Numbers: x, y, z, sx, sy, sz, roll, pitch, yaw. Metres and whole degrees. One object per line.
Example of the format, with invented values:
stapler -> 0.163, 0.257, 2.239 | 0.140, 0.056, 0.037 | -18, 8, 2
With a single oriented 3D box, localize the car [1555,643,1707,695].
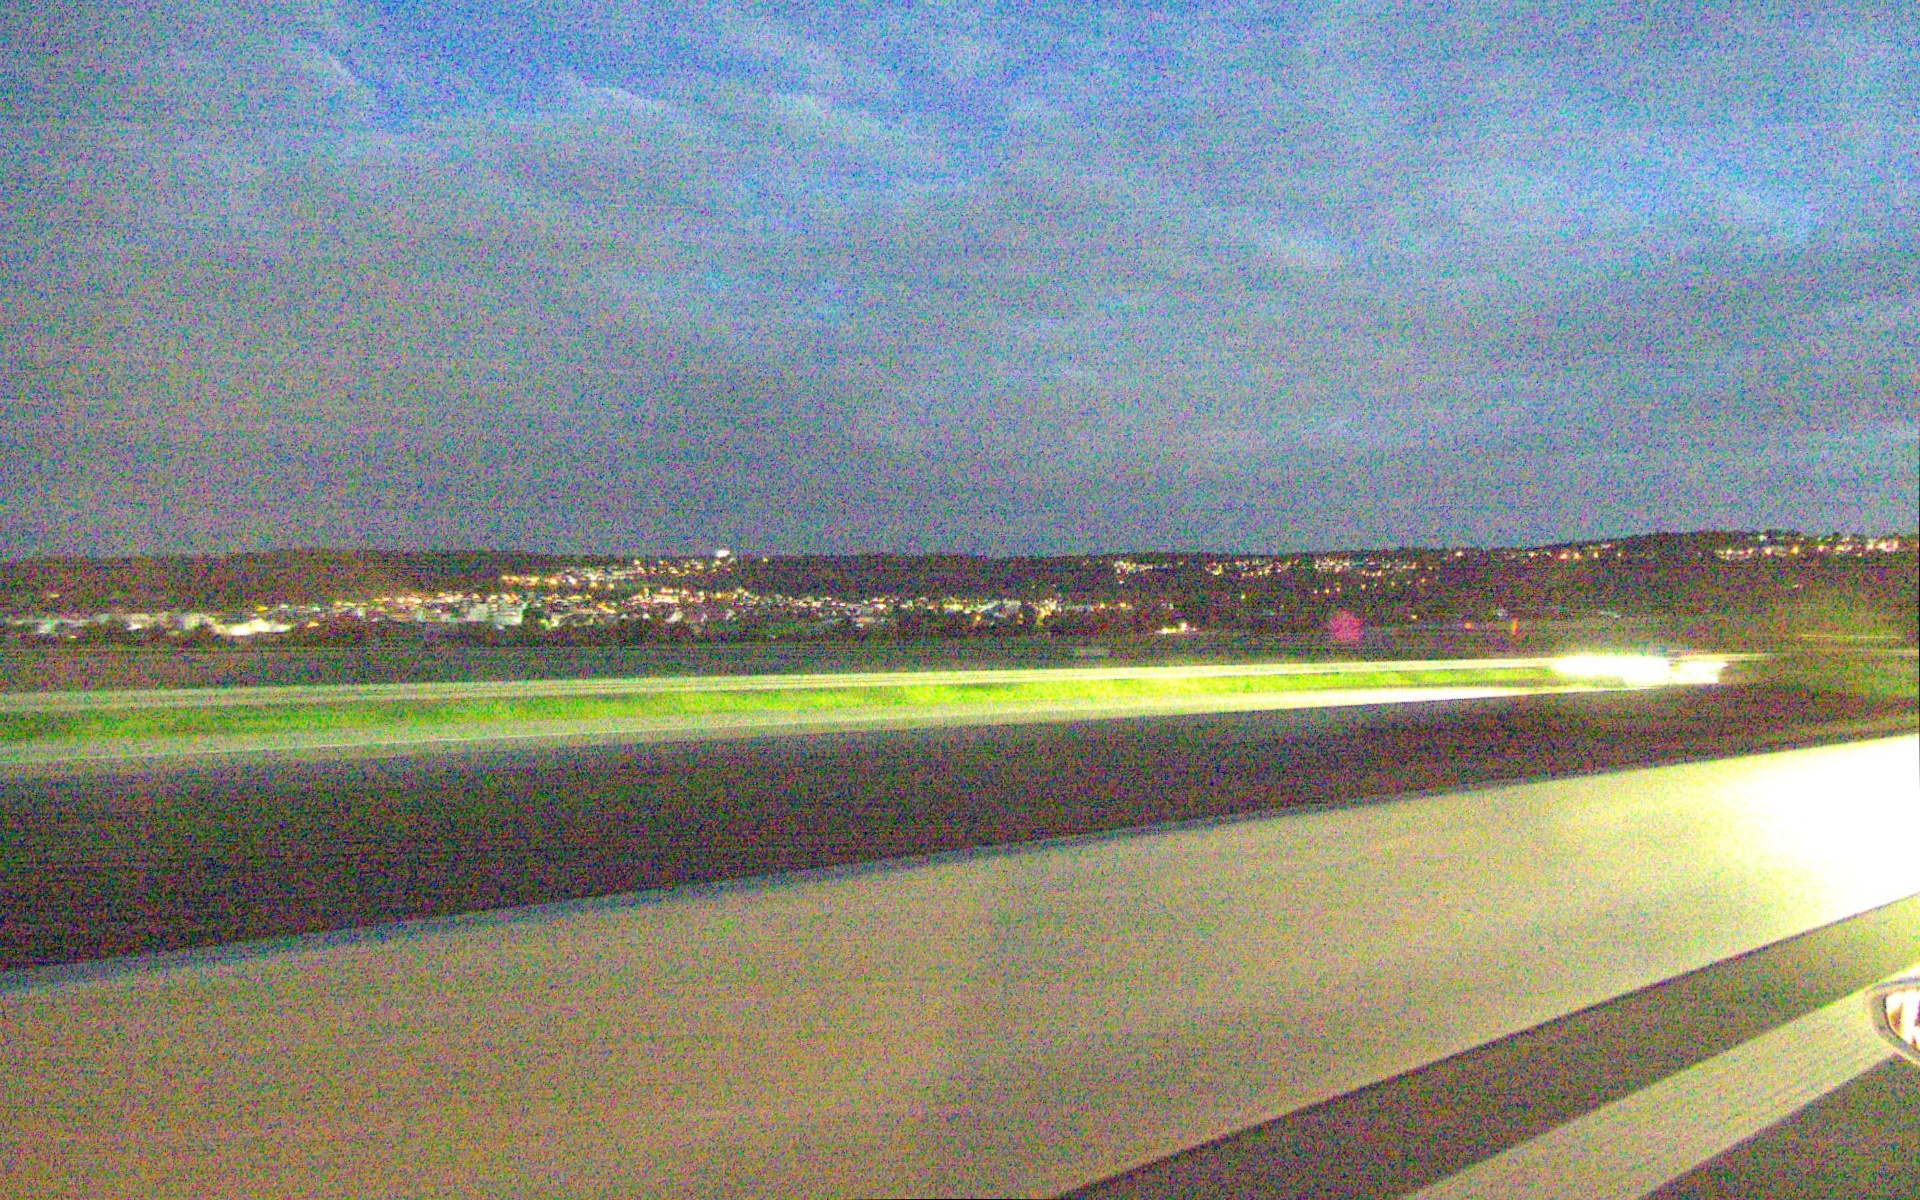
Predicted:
car -> 20.829, 2.118, 31.144 | 4.987, 1.497, 1.984 | 2, -4, -31
